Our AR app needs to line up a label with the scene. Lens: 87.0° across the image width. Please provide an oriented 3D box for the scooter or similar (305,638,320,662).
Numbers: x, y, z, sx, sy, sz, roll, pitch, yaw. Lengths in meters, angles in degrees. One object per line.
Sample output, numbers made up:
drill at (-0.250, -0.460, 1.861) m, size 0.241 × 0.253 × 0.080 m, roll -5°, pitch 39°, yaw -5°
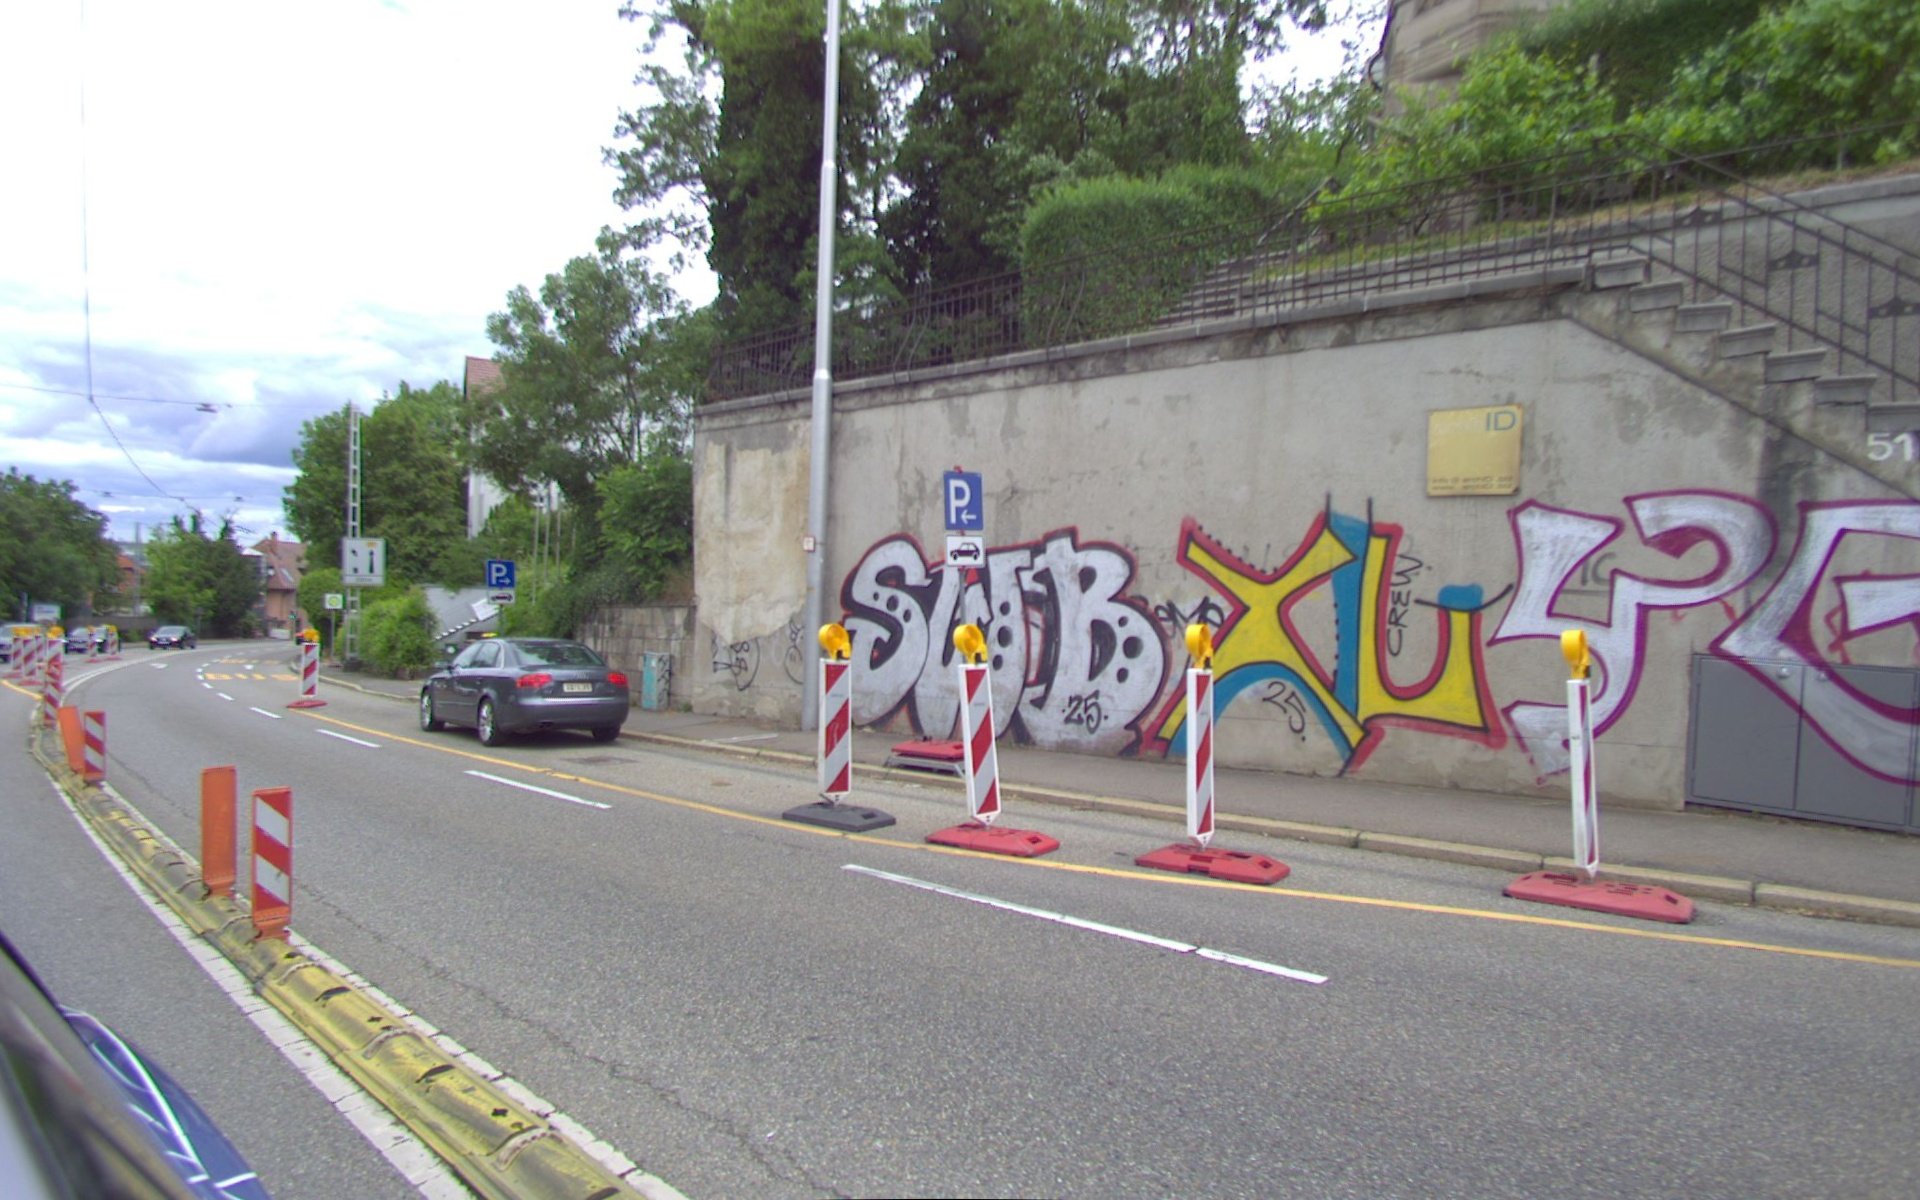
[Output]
scooter or similar at (-33.698, 2.605, 52.662) m, size 0.423 × 1.218 × 1.283 m, roll -1°, pitch -1°, yaw -42°

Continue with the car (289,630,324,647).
car at (-55.577, 3.284, 86.098) m, size 1.795 × 1.402 × 4.452 m, roll 3°, pitch -3°, yaw -25°

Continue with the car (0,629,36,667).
car at (-41.004, 2.005, 43.085) m, size 1.770 × 1.522 × 4.010 m, roll 3°, pitch -3°, yaw -34°

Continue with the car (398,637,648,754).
car at (-6.293, 1.242, 14.301) m, size 1.778 × 1.383 × 4.391 m, roll 4°, pitch -4°, yaw -44°

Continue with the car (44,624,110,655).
car at (-46.132, 2.021, 52.943) m, size 1.769 × 1.522 × 4.012 m, roll 1°, pitch -1°, yaw -29°

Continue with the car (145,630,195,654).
car at (-49.724, 2.623, 63.767) m, size 1.762 × 1.492 × 4.258 m, roll 1°, pitch -2°, yaw -29°
